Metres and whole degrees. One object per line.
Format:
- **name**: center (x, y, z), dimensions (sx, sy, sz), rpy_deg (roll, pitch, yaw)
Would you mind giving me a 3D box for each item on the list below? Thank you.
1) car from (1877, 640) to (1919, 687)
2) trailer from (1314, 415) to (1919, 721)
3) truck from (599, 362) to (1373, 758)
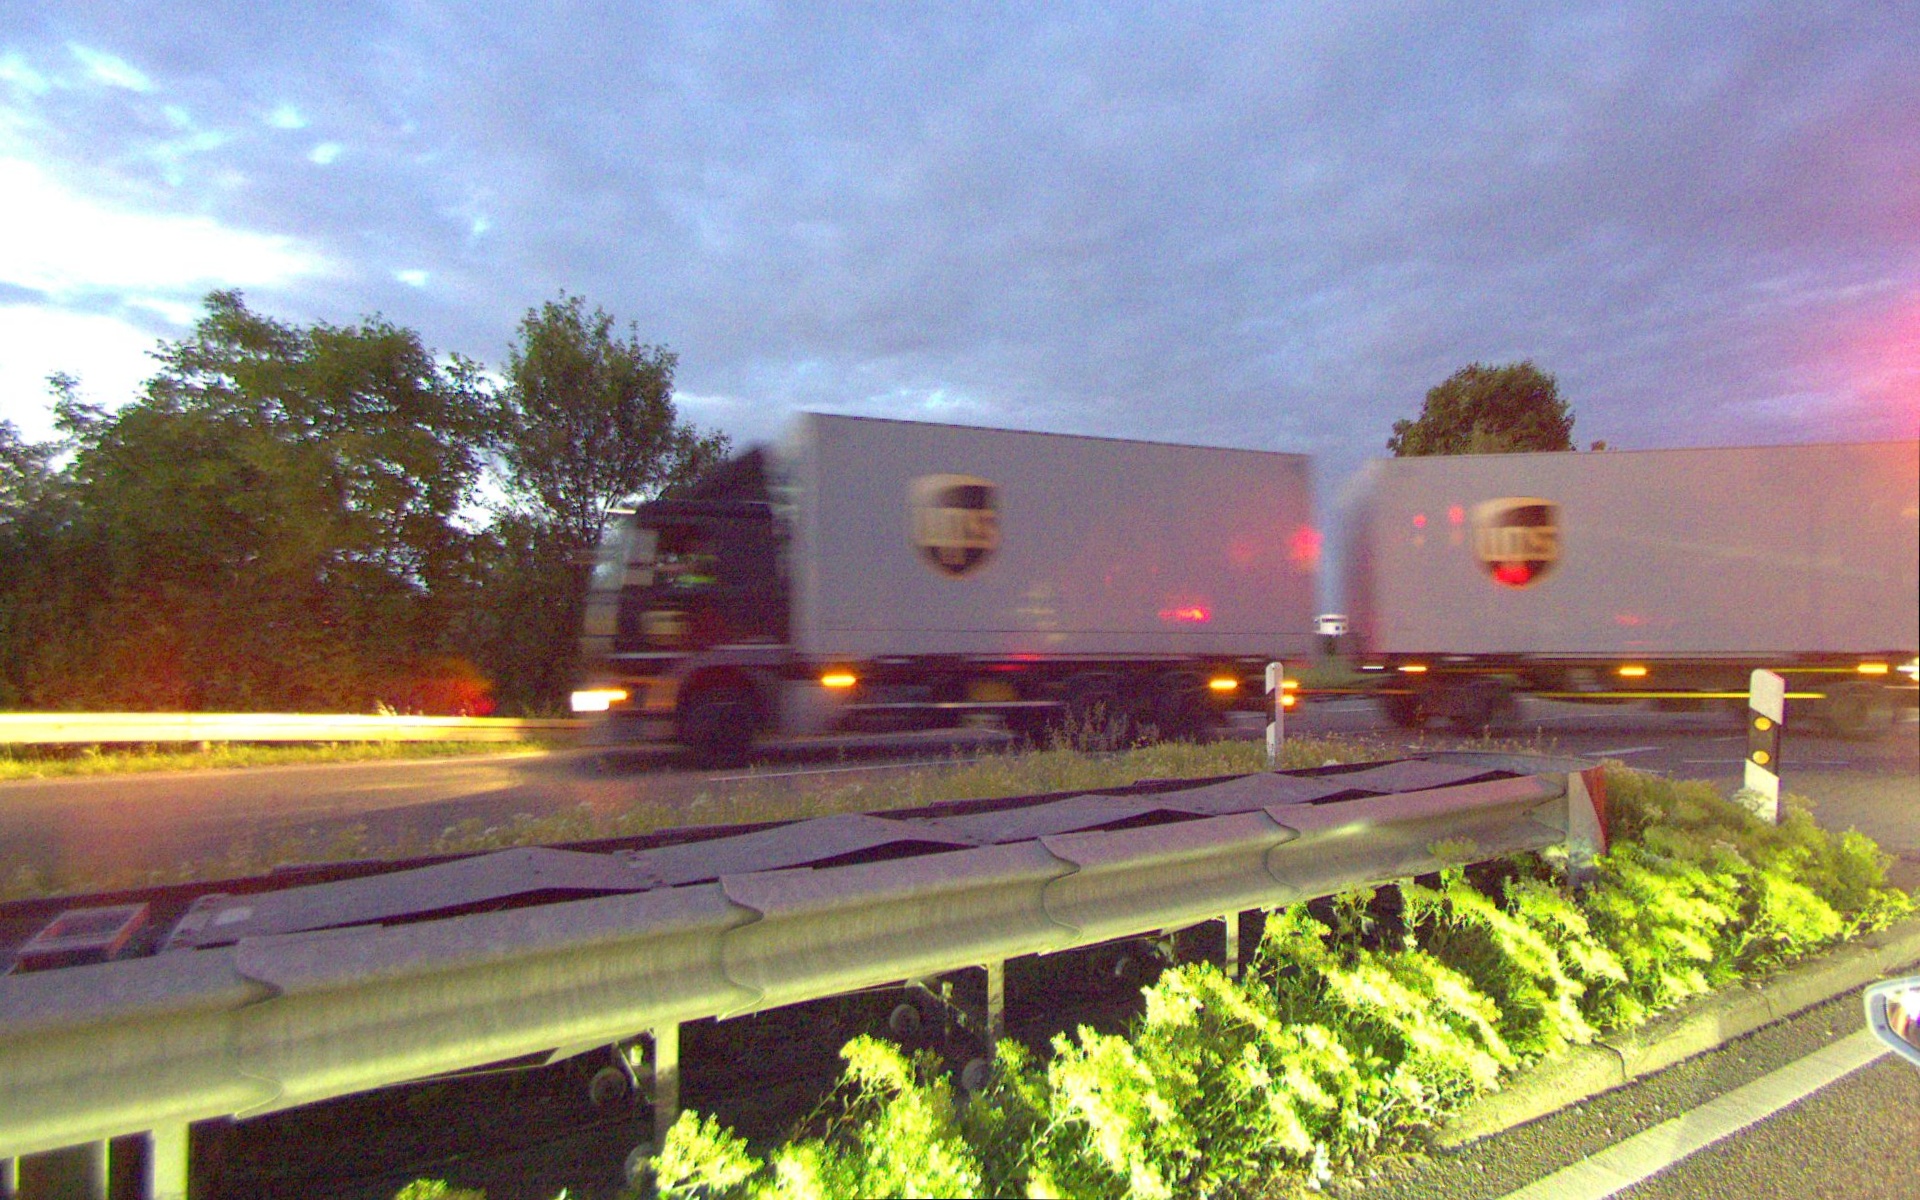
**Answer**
- **car**: center (31.161, 2.041, 32.103), dimensions (3.983, 1.403, 1.644), rpy_deg (2, 0, -31)
- **trailer**: center (10.030, -0.366, 14.898), dimensions (8.697, 3.995, 2.587), rpy_deg (0, -2, 11)
- **truck**: center (0.569, -0.278, 13.638), dimensions (10.189, 4.172, 2.722), rpy_deg (2, -1, -20)
